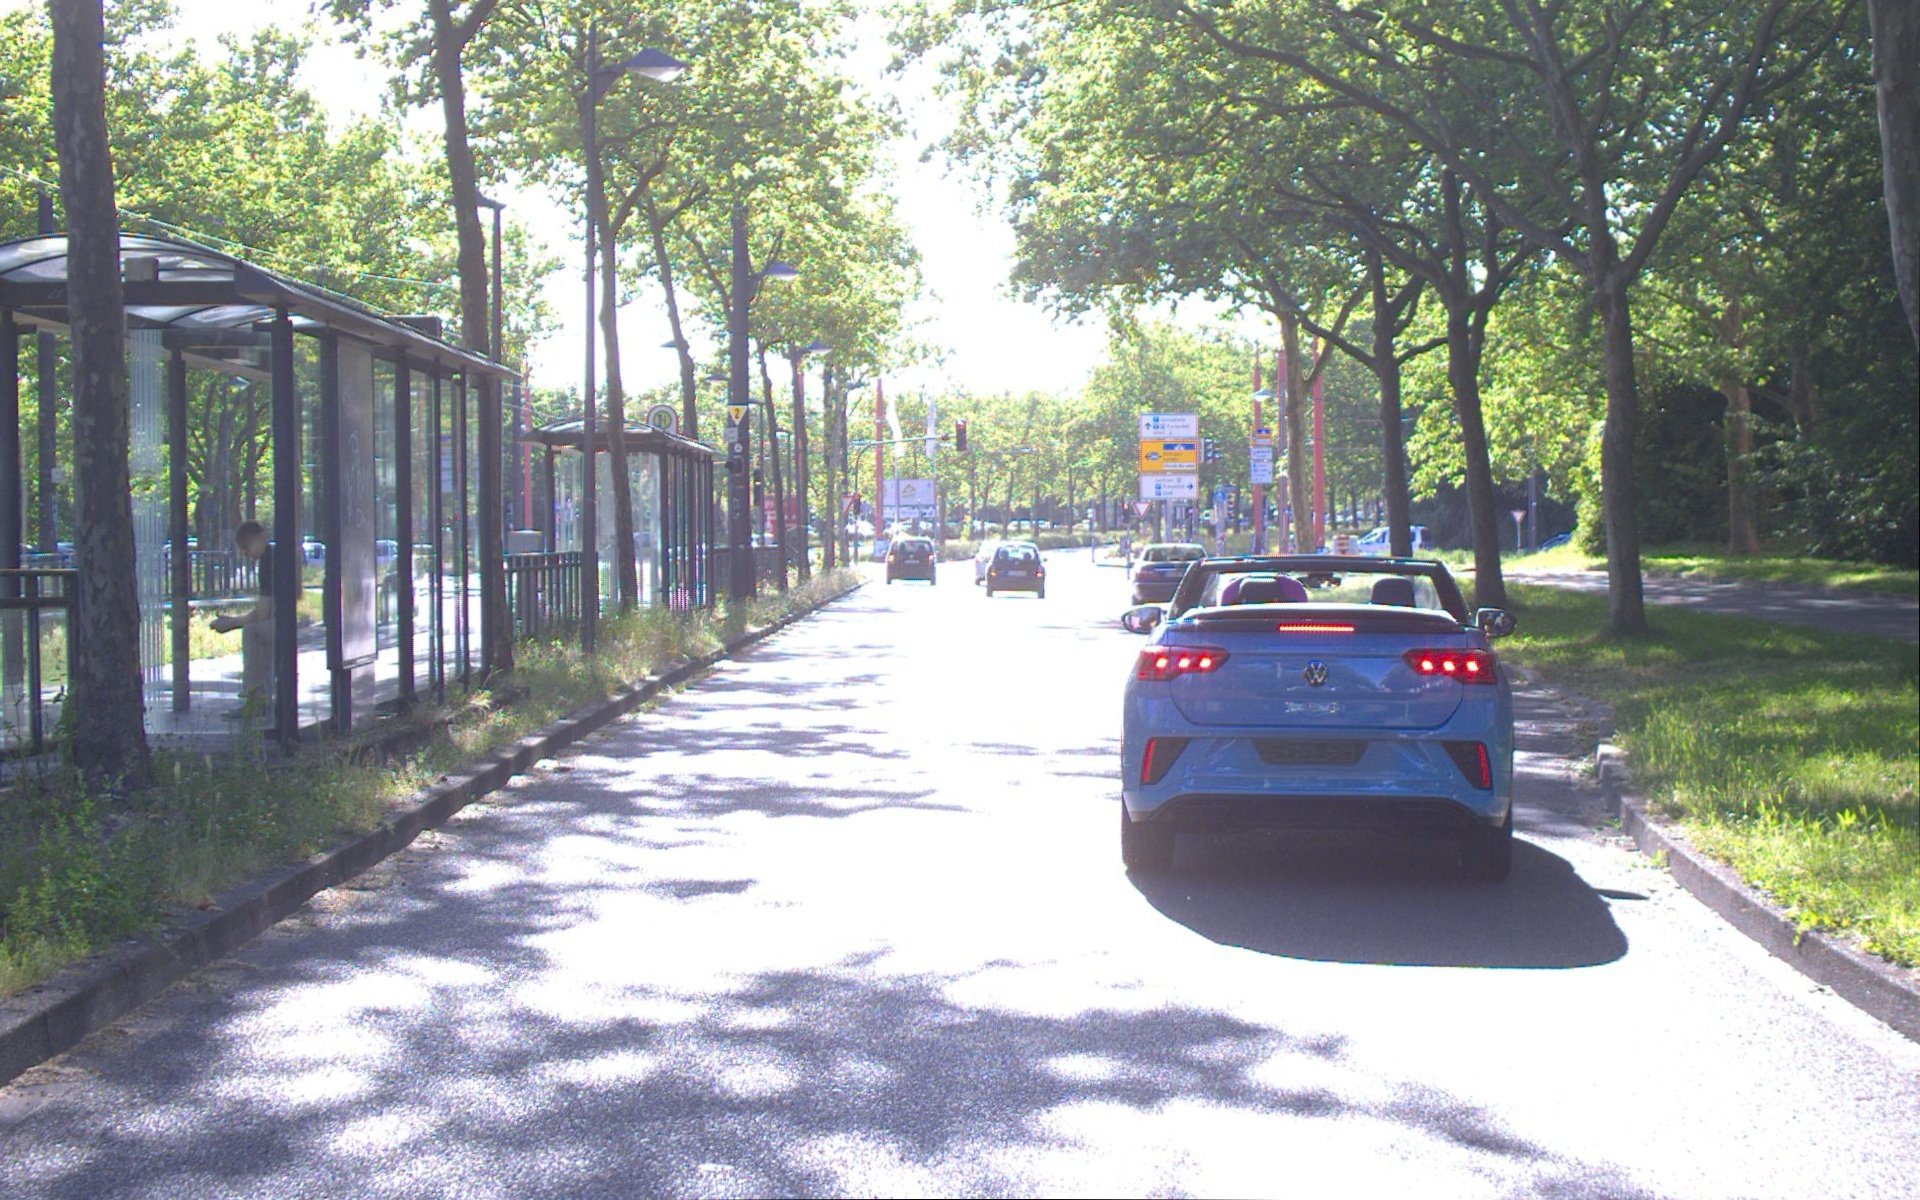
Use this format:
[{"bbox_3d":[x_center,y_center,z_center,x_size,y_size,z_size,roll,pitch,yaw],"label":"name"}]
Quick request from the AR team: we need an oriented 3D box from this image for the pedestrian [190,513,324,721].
[{"bbox_3d":[-4.301,0.098,21.067,0.733,1.248,0.588,1,1,-6],"label":"pedestrian"}]

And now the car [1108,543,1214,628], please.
[{"bbox_3d":[4.398,-0.349,75.914,1.981,1.786,4.614,1,1,-1],"label":"car"}]

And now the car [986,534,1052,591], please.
[{"bbox_3d":[1.610,-1.051,95.137,1.638,1.489,3.504,1,2,-1],"label":"car"}]

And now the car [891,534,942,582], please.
[{"bbox_3d":[-1.502,-1.427,117.506,1.710,1.598,3.350,0,1,-1],"label":"car"}]

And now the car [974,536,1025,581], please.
[{"bbox_3d":[1.356,-1.425,118.144,1.678,1.470,4.131,1,1,0],"label":"car"}]

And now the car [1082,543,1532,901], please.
[{"bbox_3d":[1.576,0.494,16.946,1.776,1.478,4.100,1,1,0],"label":"car"}]
